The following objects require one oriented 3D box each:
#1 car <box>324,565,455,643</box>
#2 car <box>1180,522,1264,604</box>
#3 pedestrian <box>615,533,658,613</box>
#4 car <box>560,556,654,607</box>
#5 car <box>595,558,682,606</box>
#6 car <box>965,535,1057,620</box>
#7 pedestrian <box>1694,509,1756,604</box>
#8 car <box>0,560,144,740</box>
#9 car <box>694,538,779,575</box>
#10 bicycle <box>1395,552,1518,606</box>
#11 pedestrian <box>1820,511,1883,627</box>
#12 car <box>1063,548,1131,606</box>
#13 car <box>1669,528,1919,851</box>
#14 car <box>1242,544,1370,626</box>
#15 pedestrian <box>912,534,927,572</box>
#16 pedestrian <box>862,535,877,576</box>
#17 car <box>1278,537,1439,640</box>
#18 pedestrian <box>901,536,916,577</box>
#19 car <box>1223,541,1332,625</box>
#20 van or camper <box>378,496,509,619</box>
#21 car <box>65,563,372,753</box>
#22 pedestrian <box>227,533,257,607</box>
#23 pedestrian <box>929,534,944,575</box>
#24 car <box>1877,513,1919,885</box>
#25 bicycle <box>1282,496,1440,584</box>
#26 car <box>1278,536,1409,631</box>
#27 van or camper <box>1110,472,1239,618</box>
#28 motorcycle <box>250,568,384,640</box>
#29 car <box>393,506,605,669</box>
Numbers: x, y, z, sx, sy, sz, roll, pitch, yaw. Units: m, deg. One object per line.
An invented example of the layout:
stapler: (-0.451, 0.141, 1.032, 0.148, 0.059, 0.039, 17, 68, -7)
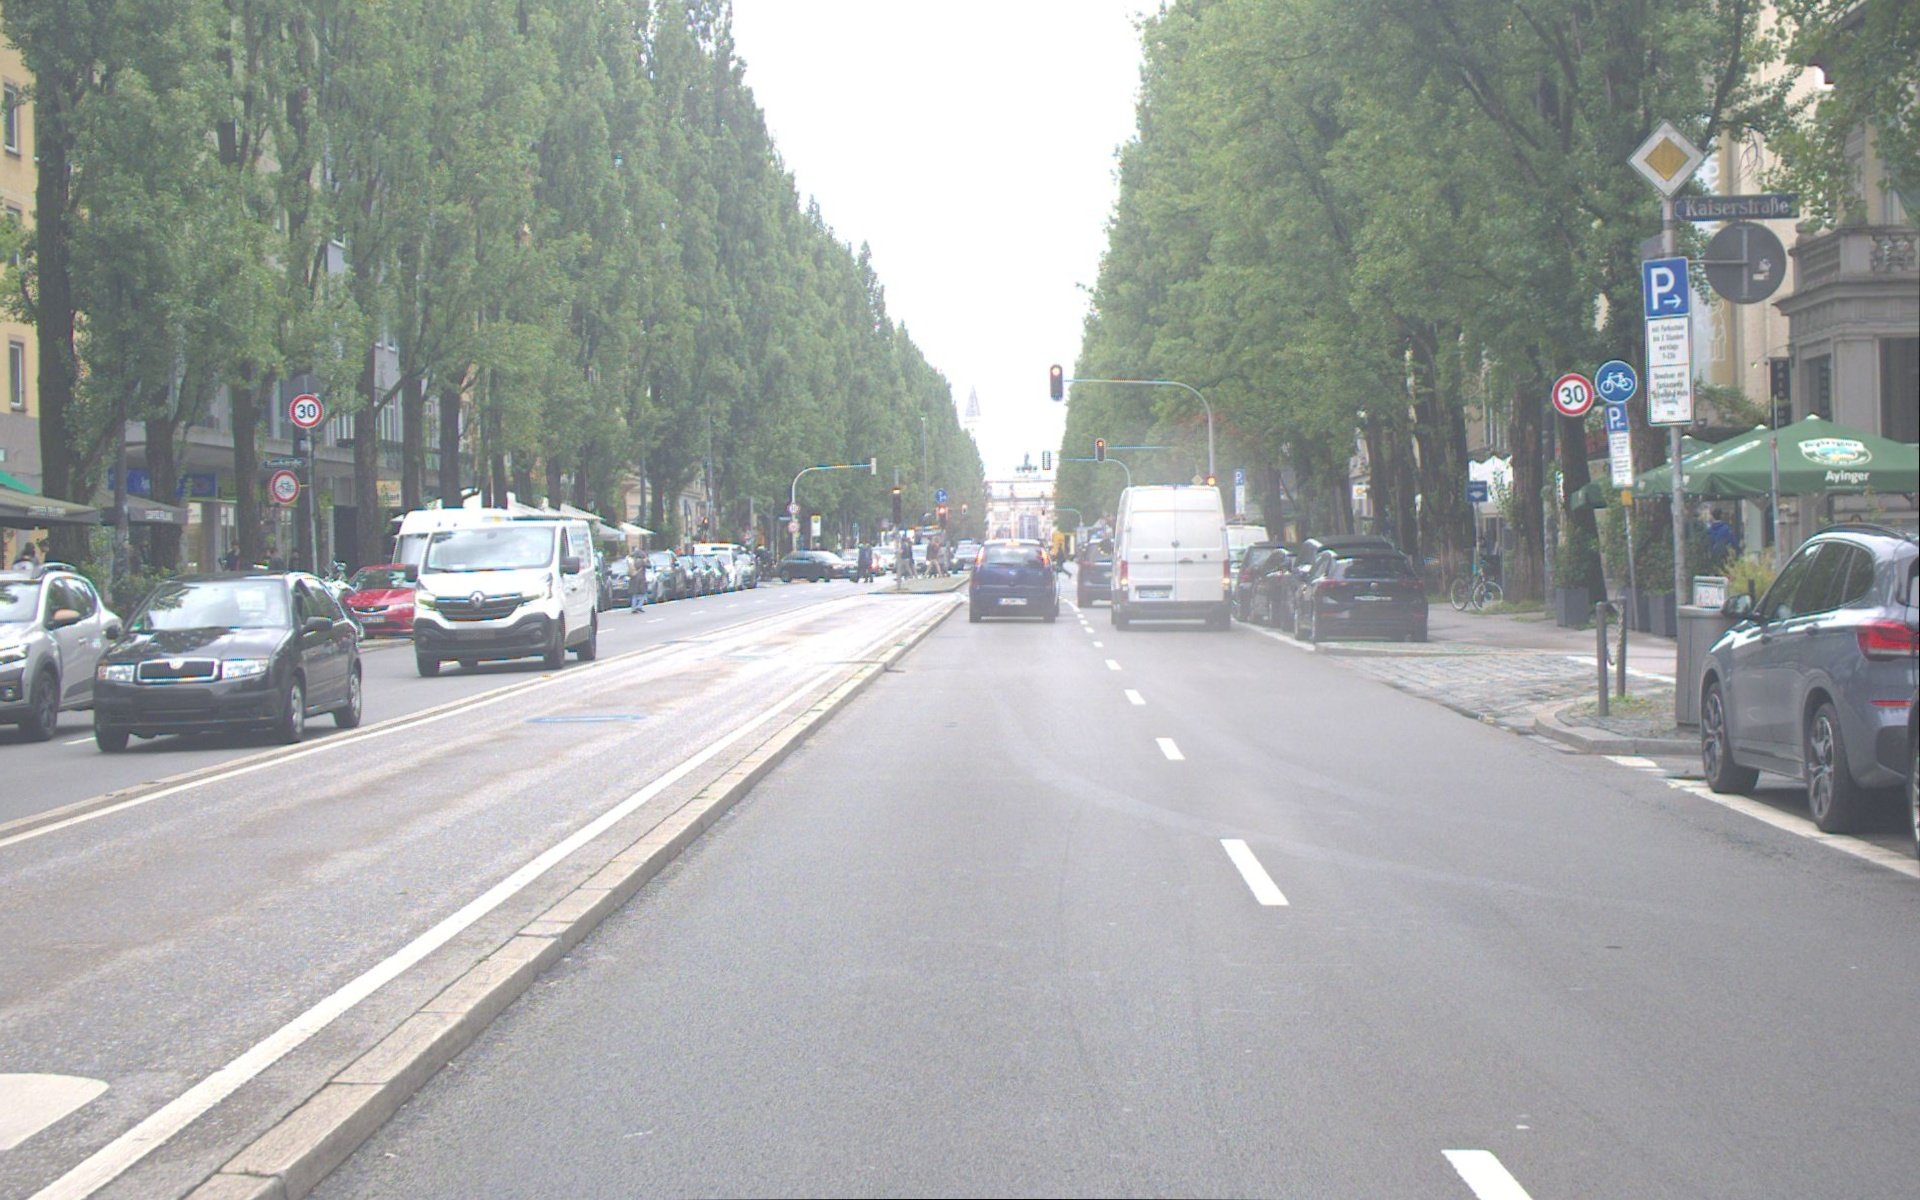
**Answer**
car: (-10.794, 0.073, 65.274, 1.795, 1.424, 4.000, 0, 0, 1)
car: (6.435, -0.891, 84.737, 1.805, 1.985, 4.000, 0, 0, 1)
pedestrian: (-8.188, -0.678, 86.950, 0.809, 2.007, 0.720, -2, 1, -34)
car: (-9.994, -0.520, 97.647, 1.994, 1.415, 3.999, 0, 0, 4)
car: (-9.726, -0.530, 104.279, 1.994, 1.415, 3.999, 0, 0, 4)
car: (1.022, -0.431, 67.402, 1.759, 1.614, 3.747, 0, 0, 2)
pedestrian: (14.412, -0.821, 64.740, 0.814, 1.749, 0.931, -1, 1, 33)
car: (-8.849, 0.452, 31.261, 1.825, 1.527, 4.000, -2, 0, 0)
car: (-10.784, -2.080, 166.049, 3.986, 1.739, 2.000, 0, 0, -7)
bicycle: (9.781, -0.411, 67.856, 0.759, 1.020, 2.734, -2, 1, -34)
pedestrian: (14.433, -0.501, 55.686, 0.760, 1.847, 0.740, -2, 1, -2)
car: (3.269, -0.568, 82.320, 1.504, 1.308, 3.283, -1, 1, 1)
car: (5.202, 0.392, 19.054, 1.623, 1.560, 4.371, -1, 1, 0)
car: (6.304, -0.270, 63.040, 1.993, 1.459, 4.000, 0, 0, 1)
pedestrian: (-2.165, -2.530, 184.810, 0.770, 2.007, 0.897, 0, 0, 1)
pedestrian: (-3.796, -1.873, 144.813, 0.553, 1.710, 0.493, -2, 1, 2)
car: (6.021, -0.205, 52.311, 1.944, 1.462, 4.000, -2, 1, 0)
pedestrian: (-2.163, -1.817, 144.227, 0.553, 1.710, 0.493, -2, 1, 2)
car: (6.187, -0.321, 67.343, 1.805, 1.590, 4.000, 0, 0, 1)
van or camper: (-10.727, -0.888, 71.677, 1.993, 2.450, 4.251, -1, 1, 1)
car: (-6.108, 0.431, 28.707, 1.711, 1.409, 3.723, -2, 1, 0)
pedestrian: (-18.093, -0.761, 86.648, 0.582, 1.850, 0.675, -1, 1, 0)
pedestrian: (-1.002, -1.933, 146.035, 0.553, 1.710, 0.493, -2, 1, 2)
car: (5.087, 0.445, 13.446, 1.881, 1.636, 4.583, -1, 1, 2)
bicycle: (9.268, -1.378, 79.326, 3.550, 2.007, 1.296, 0, 0, 10)
car: (6.426, -0.300, 57.934, 1.785, 1.519, 3.940, -1, 1, 1)
van or camper: (3.761, -0.932, 61.005, 2.034, 2.467, 4.000, -1, 0, 1)
motorcycle: (-11.016, 0.052, 59.073, 1.238, 1.136, 3.716, -1, 1, 6)
car: (-6.015, -0.168, 45.436, 1.993, 1.927, 4.918, -3, 0, 1)
